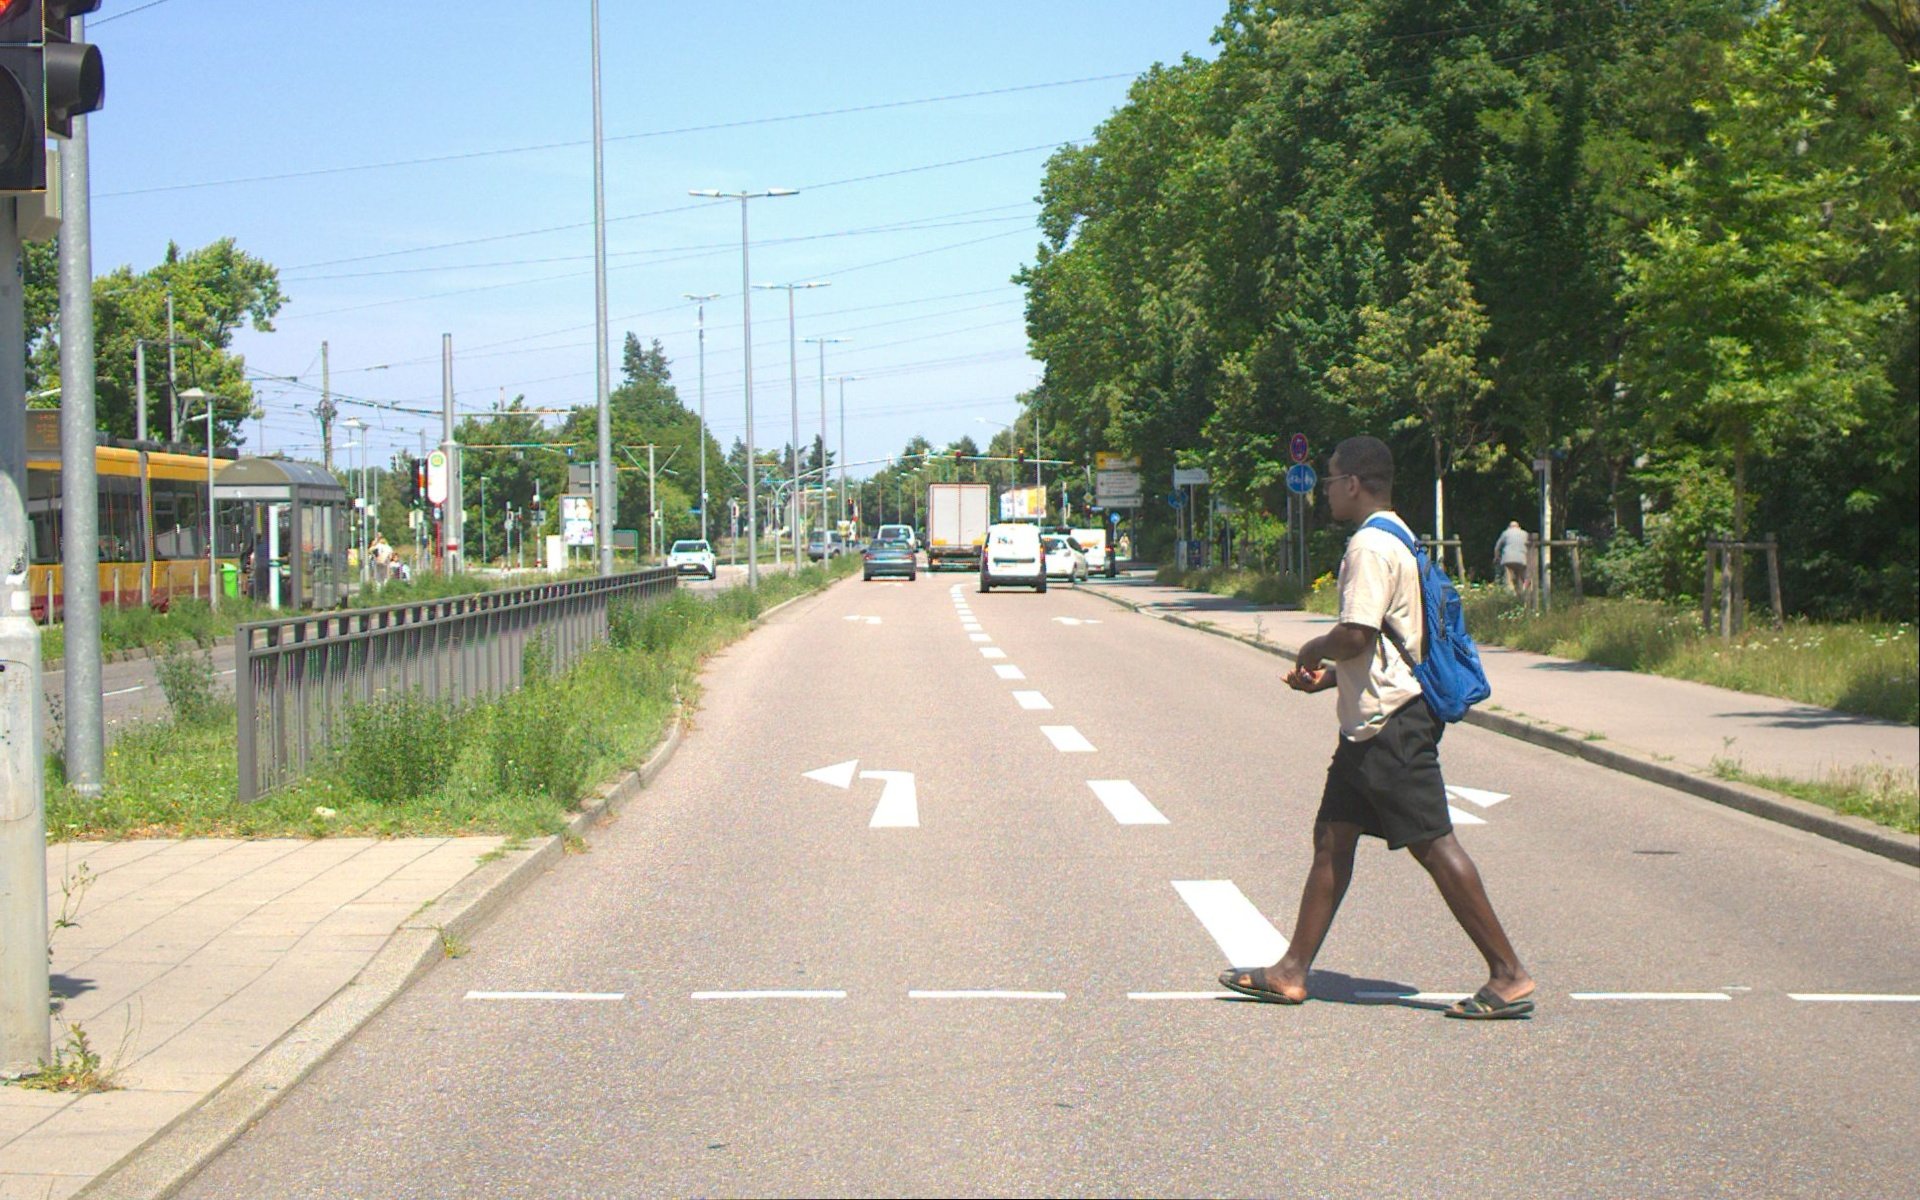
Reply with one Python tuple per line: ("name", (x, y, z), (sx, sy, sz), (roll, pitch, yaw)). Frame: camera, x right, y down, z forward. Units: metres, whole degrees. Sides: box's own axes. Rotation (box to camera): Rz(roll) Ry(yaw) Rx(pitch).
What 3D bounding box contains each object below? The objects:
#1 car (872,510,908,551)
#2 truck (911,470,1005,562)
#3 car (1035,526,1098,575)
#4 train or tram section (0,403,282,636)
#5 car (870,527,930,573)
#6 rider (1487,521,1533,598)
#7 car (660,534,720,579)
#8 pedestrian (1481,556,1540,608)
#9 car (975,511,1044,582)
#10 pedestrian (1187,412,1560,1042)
("car", (-3.358, -3.335, 164.889), (1.687, 1.891, 3.871), (0, 1, -1))
("truck", (-0.153, -3.639, 149.080), (3.899, 3.799, 10.794), (0, 1, -1))
("car", (3.377, -1.580, 109.380), (1.803, 1.534, 4.000), (0, 1, -1))
("train or tram section", (-16.563, -1.473, 64.548), (2.787, 3.655, 26.001), (0, 1, -1))
("car", (-1.935, -1.655, 112.442), (1.802, 1.481, 4.000), (0, 1, 1))
("rider", (9.228, -0.686, 57.706), (0.678, 1.277, 0.534), (0, 1, -1))
("car", (-10.209, -1.640, 129.997), (1.993, 1.644, 4.000), (0, 1, -1))
("pedestrian", (9.239, -0.316, 57.713), (0.678, 0.845, 1.774), (0, 1, -1))
("car", (1.327, -1.426, 90.471), (1.728, 1.807, 4.000), (1, 1, 2))
("pedestrian", (1.281, 0.362, 10.555), (1.047, 1.844, 0.757), (0, 1, 14))
